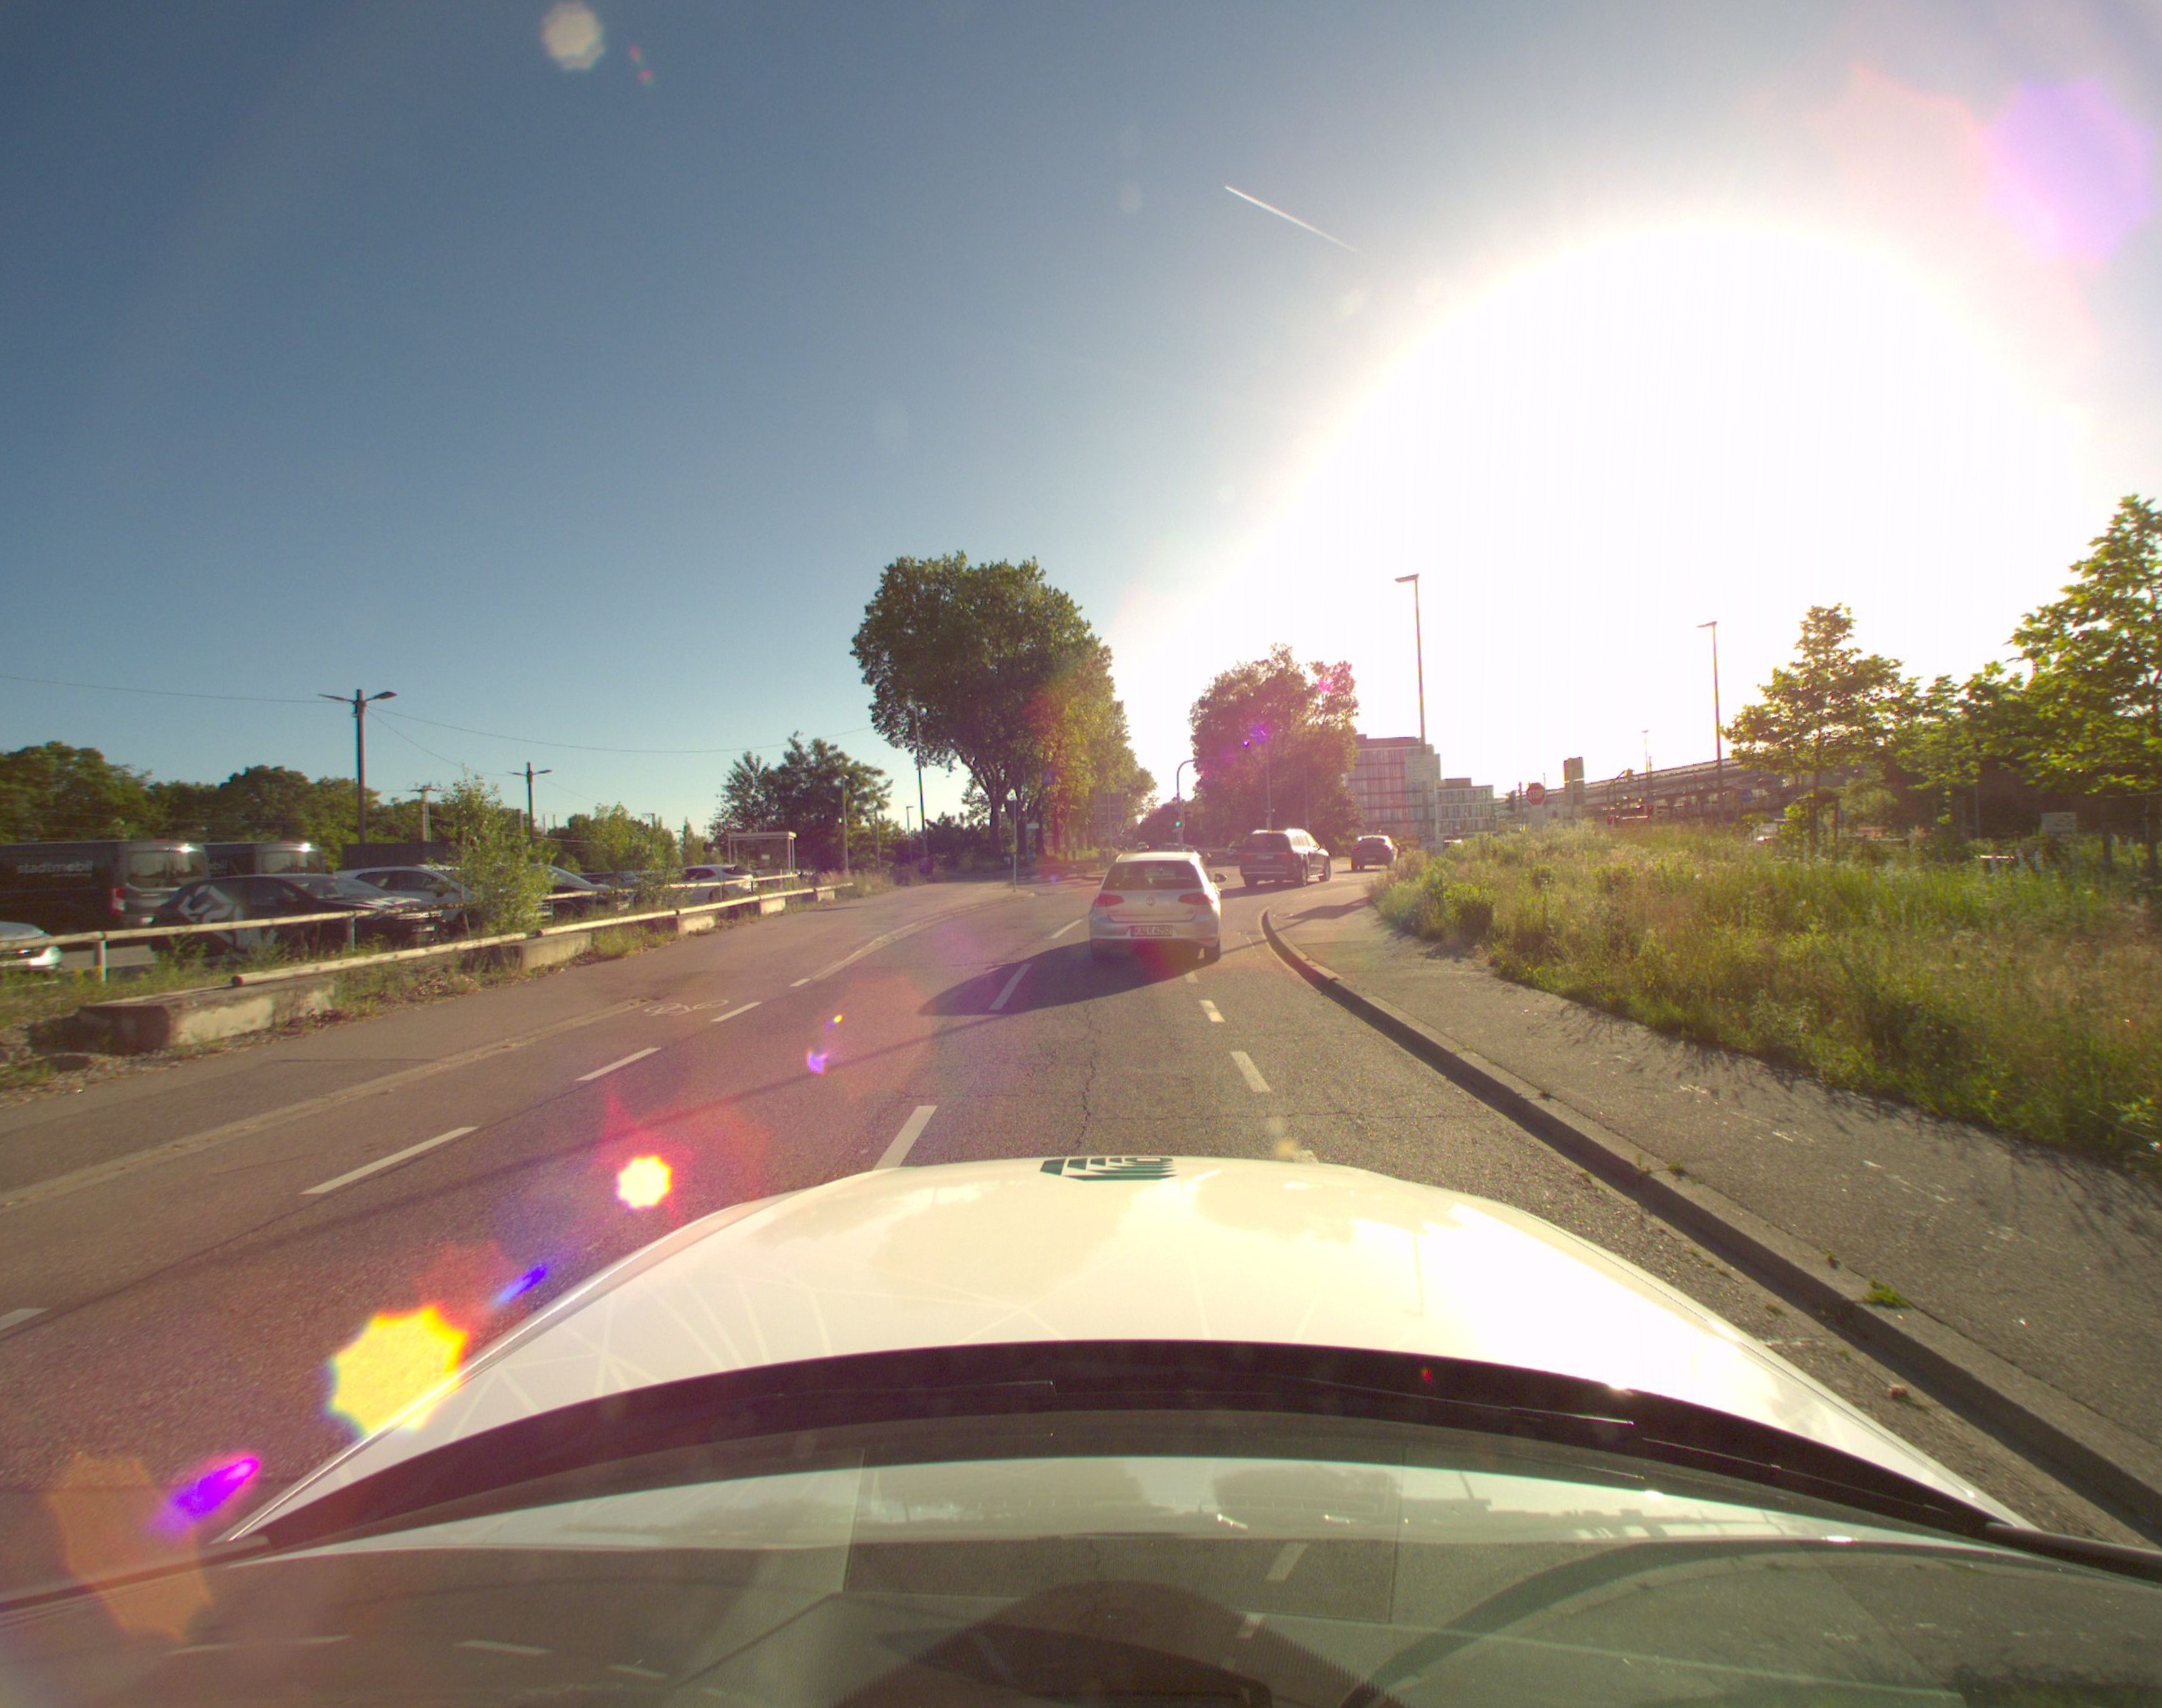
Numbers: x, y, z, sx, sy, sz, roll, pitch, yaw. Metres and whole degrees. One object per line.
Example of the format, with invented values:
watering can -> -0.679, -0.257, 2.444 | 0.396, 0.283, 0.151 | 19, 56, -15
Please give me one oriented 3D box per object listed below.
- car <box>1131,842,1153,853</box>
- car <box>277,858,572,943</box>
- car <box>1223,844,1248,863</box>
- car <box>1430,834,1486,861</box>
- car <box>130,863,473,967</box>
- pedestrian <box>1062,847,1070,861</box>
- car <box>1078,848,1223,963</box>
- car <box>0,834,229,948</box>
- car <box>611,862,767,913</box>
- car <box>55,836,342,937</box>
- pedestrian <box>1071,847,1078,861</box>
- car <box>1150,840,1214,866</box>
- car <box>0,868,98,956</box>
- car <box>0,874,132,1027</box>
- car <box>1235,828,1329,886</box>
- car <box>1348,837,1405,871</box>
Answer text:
car -> 11.675, -1.265, 156.042 | 2.011, 2.013, 3.952 | -1, 0, -41
car -> -13.428, 0.913, 16.866 | 4.526, 1.557, 1.878 | -1, 0, 0
car -> 16.019, -0.035, 84.640 | 1.985, 1.860, 4.002 | -1, -1, 3
car -> 23.134, -0.423, 49.902 | 1.881, 1.596, 4.024 | -2, 0, 44
car -> -13.257, 0.986, 14.056 | 4.074, 1.557, 1.878 | -1, 0, 0
pedestrian -> -1.540, -0.021, 83.880 | 0.676, 1.415, 0.685 | -1, 0, 2
car -> 1.149, 0.642, 12.190 | 1.780, 1.420, 4.009 | -1, 0, 8
car -> -23.712, 0.833, 19.121 | 4.909, 2.459, 2.320 | -1, 0, 0
car -> -13.467, 1.131, 28.165 | 4.410, 1.557, 1.878 | -1, 0, 0
car -> -23.410, 0.824, 21.789 | 5.079, 2.459, 2.320 | -1, 0, 0
pedestrian -> -0.678, -0.043, 83.713 | 0.676, 1.415, 0.685 | -1, 0, 2
car -> 6.601, -0.034, 53.498 | 2.009, 1.596, 3.956 | -1, 0, -36
car -> -23.814, 1.215, 16.587 | 4.909, 1.705, 2.167 | -1, 0, 0
car -> -13.555, 1.072, 8.640 | 4.578, 1.557, 2.000 | -1, 0, 0
car -> 6.799, 0.081, 27.167 | 1.802, 1.769, 4.658 | -1, 0, 30
car -> 14.276, -0.039, 39.233 | 1.896, 1.529, 4.434 | -1, 0, 29
